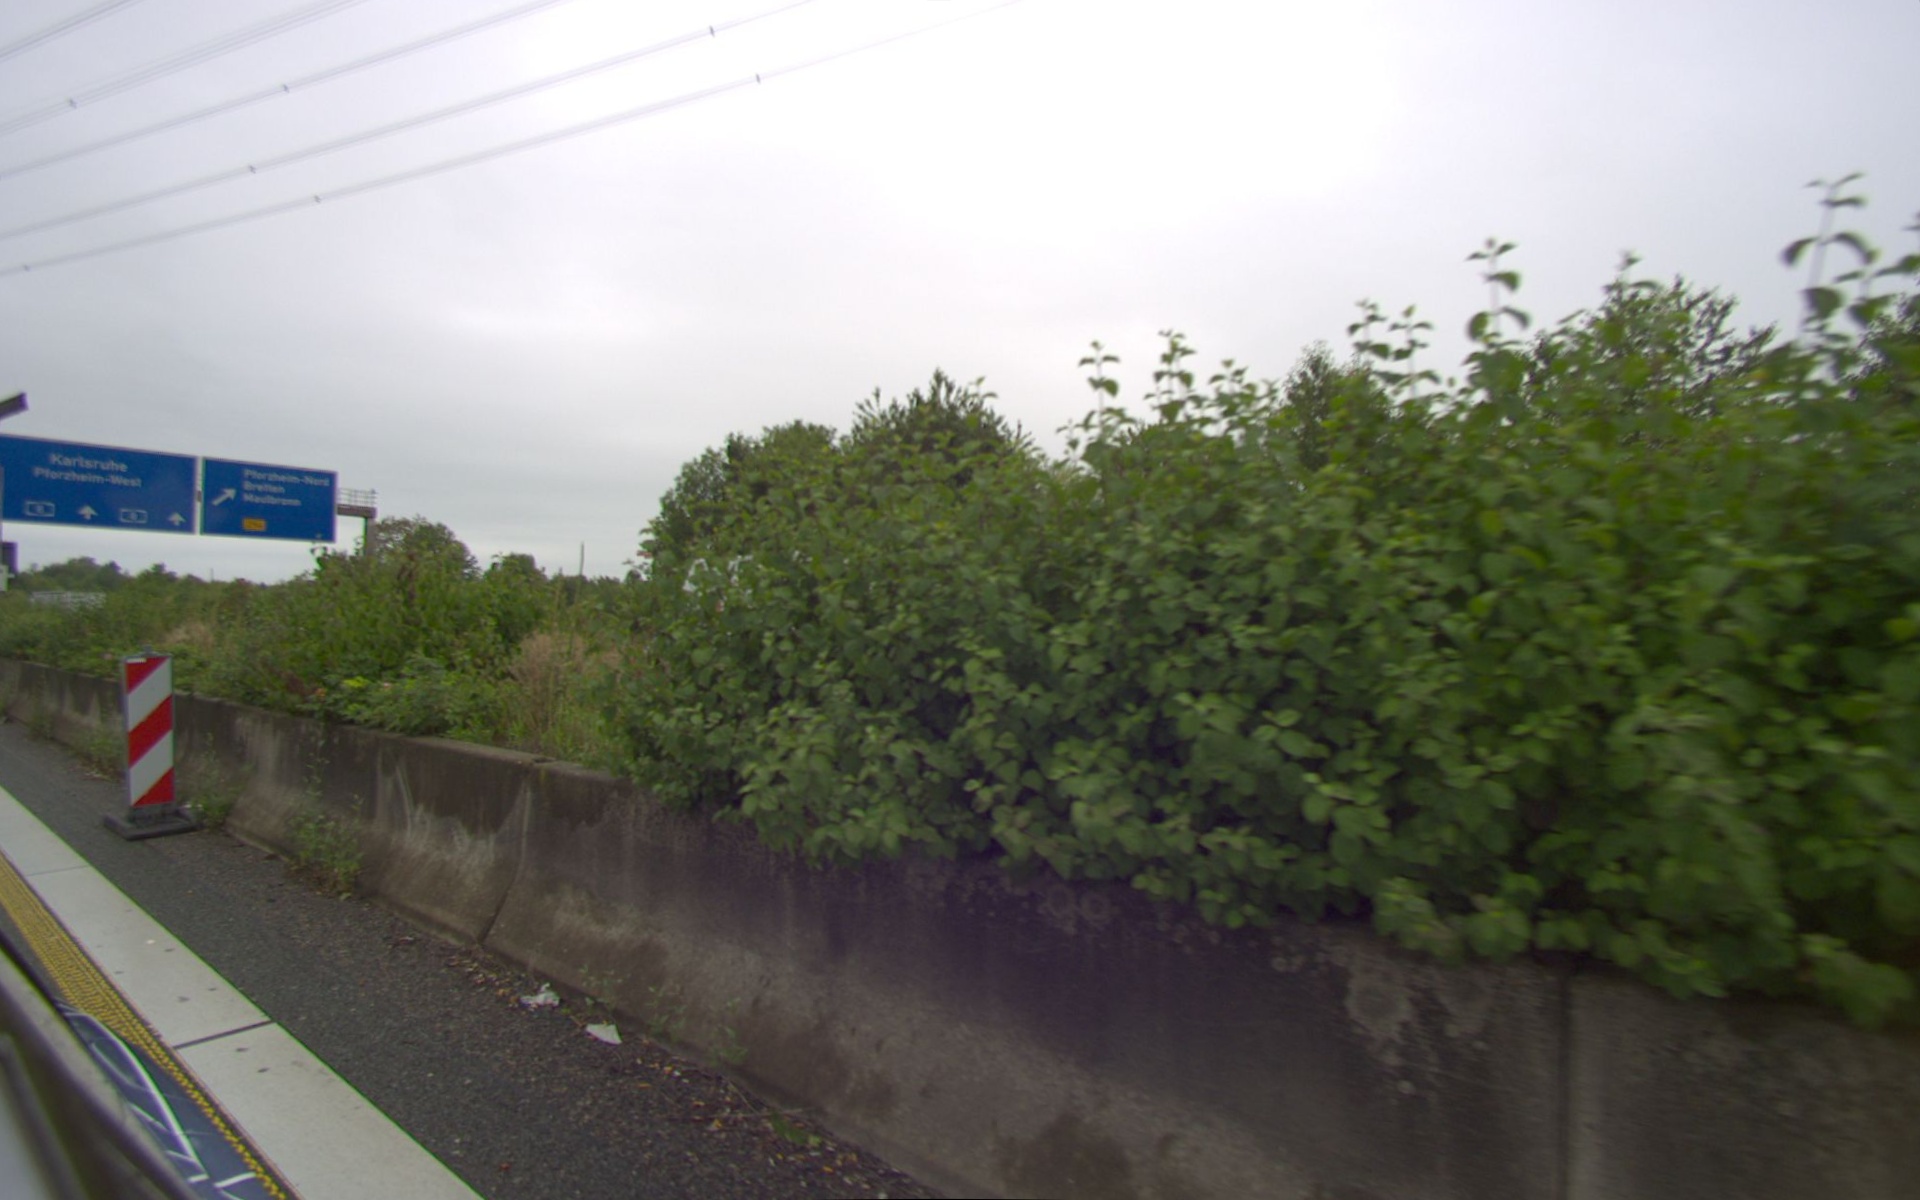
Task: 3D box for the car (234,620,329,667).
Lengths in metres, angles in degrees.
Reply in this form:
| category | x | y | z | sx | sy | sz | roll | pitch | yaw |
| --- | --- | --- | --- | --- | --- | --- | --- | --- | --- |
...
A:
| category | x | y | z | sx | sy | sz | roll | pitch | yaw |
| --- | --- | --- | --- | --- | --- | --- | --- | --- | --- |
| car | -23.321 | 1.444 | 34.718 | 4.159 | 1.467 | 1.699 | 0 | 0 | 41 |

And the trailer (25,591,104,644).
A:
| category | x | y | z | sx | sy | sz | roll | pitch | yaw |
| --- | --- | --- | --- | --- | --- | --- | --- | --- | --- |
| trailer | -73.686 | 1.487 | 83.168 | 13.240 | 4.054 | 2.757 | -1 | -4 | 40 |

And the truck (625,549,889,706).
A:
| category | x | y | z | sx | sy | sz | roll | pitch | yaw |
| --- | --- | --- | --- | --- | --- | --- | --- | --- | --- |
| truck | -5.015 | 0.679 | 24.080 | 7.049 | 3.252 | 2.237 | -1 | -4 | 41 |
